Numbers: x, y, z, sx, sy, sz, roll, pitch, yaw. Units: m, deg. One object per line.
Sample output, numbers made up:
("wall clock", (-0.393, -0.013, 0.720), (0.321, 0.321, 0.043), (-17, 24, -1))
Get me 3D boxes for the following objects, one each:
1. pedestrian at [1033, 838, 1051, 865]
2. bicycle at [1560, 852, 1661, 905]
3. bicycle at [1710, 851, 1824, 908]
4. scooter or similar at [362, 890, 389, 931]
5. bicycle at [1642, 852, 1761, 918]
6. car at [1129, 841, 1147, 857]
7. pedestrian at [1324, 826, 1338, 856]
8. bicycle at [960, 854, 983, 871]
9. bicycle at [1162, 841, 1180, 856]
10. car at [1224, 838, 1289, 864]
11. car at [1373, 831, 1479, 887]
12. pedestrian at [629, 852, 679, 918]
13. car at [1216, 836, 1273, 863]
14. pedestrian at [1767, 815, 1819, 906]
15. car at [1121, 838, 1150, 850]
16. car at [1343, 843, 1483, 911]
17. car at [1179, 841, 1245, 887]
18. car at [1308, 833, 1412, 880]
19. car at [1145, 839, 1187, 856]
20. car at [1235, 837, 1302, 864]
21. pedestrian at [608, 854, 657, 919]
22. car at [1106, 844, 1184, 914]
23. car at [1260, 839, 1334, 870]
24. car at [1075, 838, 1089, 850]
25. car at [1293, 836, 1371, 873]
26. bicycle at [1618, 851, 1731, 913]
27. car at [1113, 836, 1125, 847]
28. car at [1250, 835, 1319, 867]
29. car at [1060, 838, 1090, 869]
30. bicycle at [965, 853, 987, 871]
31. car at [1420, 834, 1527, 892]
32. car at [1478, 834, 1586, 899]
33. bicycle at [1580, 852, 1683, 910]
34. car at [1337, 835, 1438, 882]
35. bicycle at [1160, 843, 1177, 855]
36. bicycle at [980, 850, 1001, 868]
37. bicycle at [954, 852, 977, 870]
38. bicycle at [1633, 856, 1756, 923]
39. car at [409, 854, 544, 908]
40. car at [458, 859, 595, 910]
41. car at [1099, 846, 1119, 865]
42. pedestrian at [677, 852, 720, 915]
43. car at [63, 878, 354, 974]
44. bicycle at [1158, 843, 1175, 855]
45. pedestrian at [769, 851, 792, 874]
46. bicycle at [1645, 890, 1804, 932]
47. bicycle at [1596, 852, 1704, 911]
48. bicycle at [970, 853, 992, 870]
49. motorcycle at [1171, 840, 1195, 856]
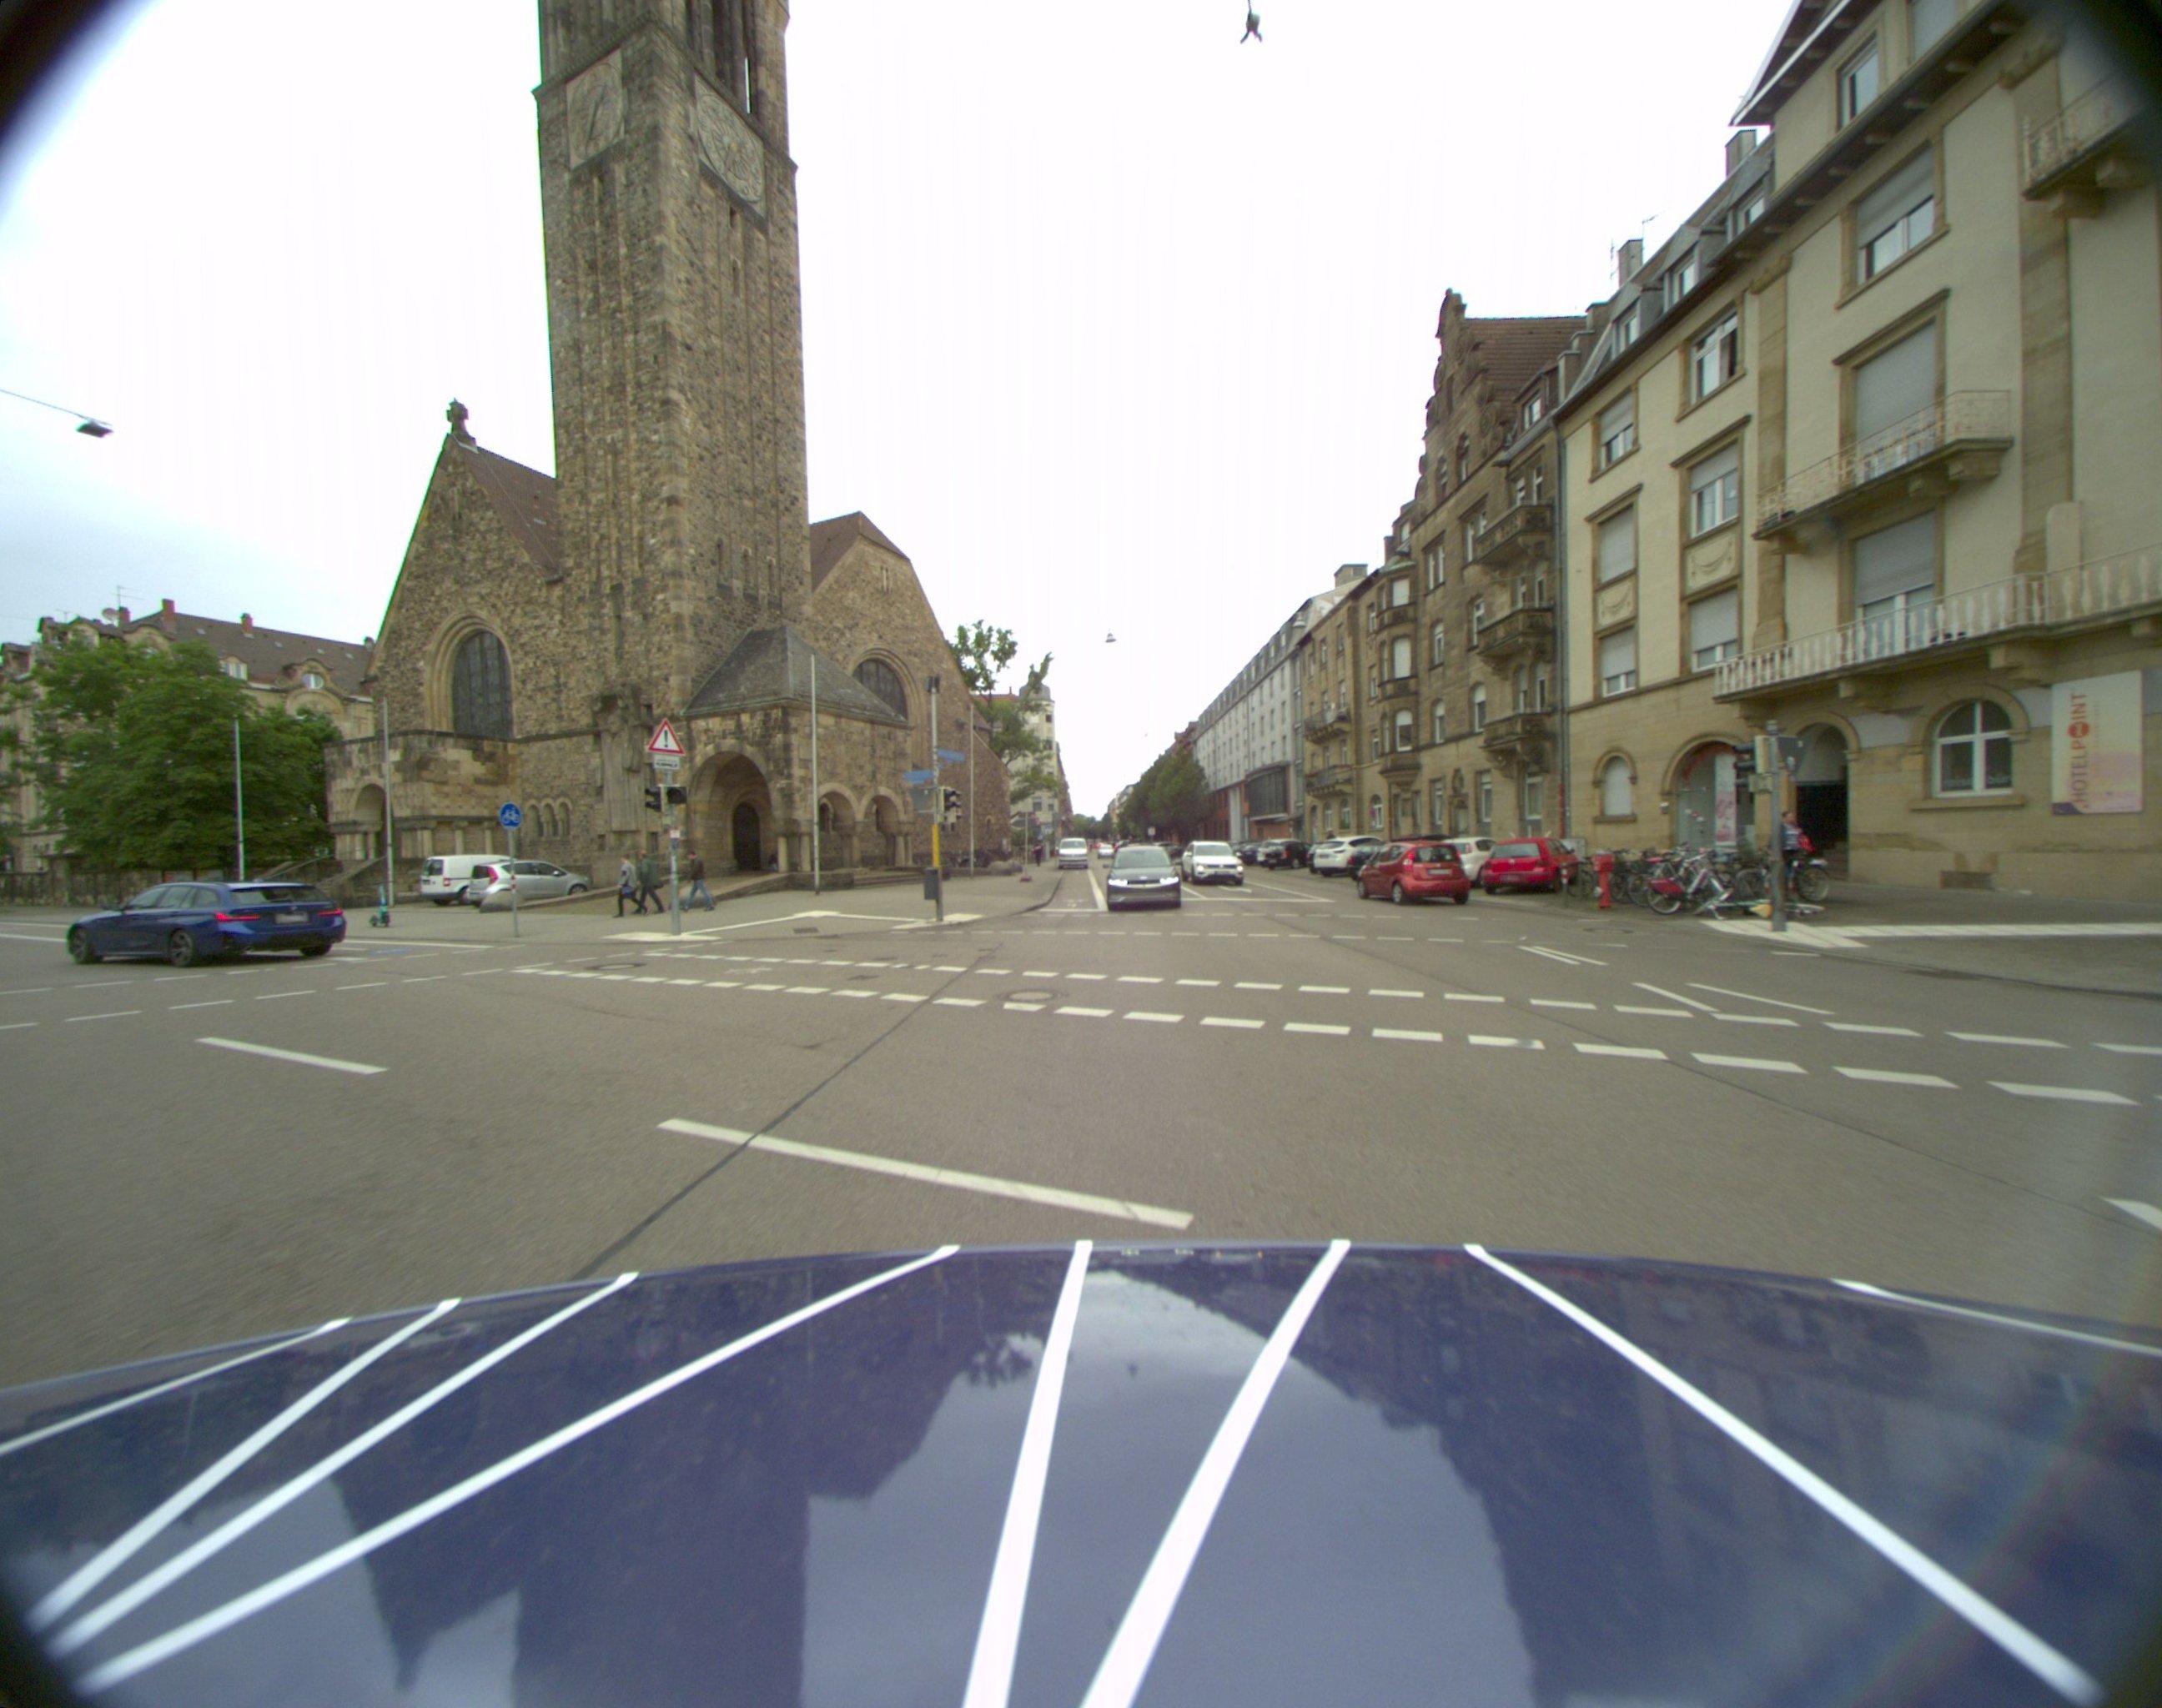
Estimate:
("pedestrian", (-2.747, -0.172, 53.245), (0.814, 1.799, 1.021), (-1, 4, 22))
("bicycle", (12.227, 0.562, 17.564), (1.890, 1.030, 0.442), (-6, 1, 4))
("bicycle", (13.605, 0.473, 15.142), (0.503, 1.022, 1.996), (-2, 1, 1))
("scooter or similar", (-18.854, 1.500, 20.300), (0.771, 1.047, 0.240), (-1, 2, 26))
("bicycle", (12.166, 0.599, 14.916), (1.891, 1.030, 0.442), (-7, 1, -1))
("car", (5.709, -0.515, 76.218), (1.653, 1.439, 3.511), (-1, 1, 2))
("pedestrian", (15.357, -0.816, 46.704), (0.621, 1.813, 0.642), (-1, 2, 1))
("bicycle", (-6.799, 0.545, 47.176), (1.380, 1.054, 0.311), (-1, 2, 23))
("bicycle", (8.573, -0.508, 72.327), (1.630, 1.282, 0.416), (-3, 2, -1))
("car", (11.601, -0.201, 50.223), (4.005, 1.430, 1.729), (-5, 2, -31))
("car", (11.952, 0.129, 26.220), (4.233, 1.642, 1.727), (-4, 2, -41))
("pedestrian", (-11.734, 0.840, 20.925), (0.806, 1.749, 0.969), (1, 2, 1))
("car", (11.489, -0.320, 53.269), (4.006, 1.545, 1.729), (-5, 2, -38))
("pedestrian", (15.616, 0.140, 16.673), (0.620, 1.947, 0.550), (-1, 2, 2))
("car", (8.665, -1.616, 121.158), (4.004, 1.898, 1.996), (-2, 1, -22))
("car", (8.423, 0.503, 19.678), (1.737, 1.516, 3.998), (-2, 1, -3))
("car", (4.978, 0.321, 29.361), (1.910, 1.597, 4.250), (-2, 1, 2))
("car", (12.000, 0.074, 32.684), (4.004, 1.714, 1.837), (-3, 2, -24))
("car", (9.007, -0.688, 80.282), (4.004, 1.620, 1.769), (-2, 1, -22))
("car", (11.734, -0.225, 47.486), (3.753, 1.437, 1.820), (-5, 2, -29))
("pedestrian", (-11.858, 0.837, 20.125), (0.634, 1.663, 0.969), (1, 2, 7))
("car", (1.650, 0.590, 20.749), (1.820, 1.675, 3.999), (-1, 1, 1))
("car", (11.761, 0.005, 41.215), (4.006, 1.410, 1.657), (-5, 3, -35))
("car", (0.140, -1.409, 102.979), (1.820, 1.556, 3.999), (-1, 1, 1))
("car", (11.863, -0.004, 35.798), (3.818, 1.489, 1.565), (-5, 3, -38))
("bicycle", (12.138, 0.570, 15.551), (1.891, 1.030, 0.442), (-7, 1, -1))
("car", (6.186, -2.023, 124.760), (1.698, 1.793, 4.128), (-1, 1, -1))
("car", (12.014, -0.200, 44.758), (4.006, 1.545, 1.699), (-5, 2, -37))
("car", (-0.385, -0.087, 50.017), (1.810, 1.909, 5.162), (-1, 1, 0))
("bicycle", (-6.600, 0.500, 47.783), (1.380, 1.054, 0.311), (-1, 2, 23))
("car", (12.243, 0.240, 23.586), (4.006, 1.464, 1.560), (-5, 2, -41))
("car", (12.331, 0.309, 20.668), (1.679, 1.464, 4.007), (-3, 1, 43))
("bicycle", (12.124, 0.583, 16.750), (1.891, 1.030, 0.442), (-7, 1, -1))
("car", (11.967, 0.164, 29.553), (4.006, 1.486, 1.727), (-5, 2, -36))
("bicycle", (8.776, -0.472, 75.978), (1.630, 1.067, 0.416), (-3, 2, -1))
("bicycle", (-5.872, 0.353, 49.047), (1.340, 1.140, 0.311), (-1, 2, 23))
("bicycle", (-7.053, 0.446, 46.504), (1.380, 1.054, 0.311), (-1, 2, 23))
("bicycle", (11.594, 0.664, 14.381), (1.891, 1.030, 0.442), (-7, 1, -1))
("car", (-22.395, 0.948, 28.286), (1.683, 1.783, 3.472), (-1, 2, 27))
("car", (-19.344, 1.014, 26.655), (1.614, 1.521, 3.473), (-1, 2, 27))
("car", (2.835, 0.149, 78.017), (1.832, 1.762, 3.998), (-2, 2, 0))
("pedestrian", (-10.510, 0.800, 20.895), (0.676, 1.676, 0.969), (1, 2, 1))
("car", (-15.404, 1.199, 13.448), (4.310, 1.397, 1.823), (-1, 1, 19))
("bicycle", (8.629, -0.480, 76.459), (1.630, 1.067, 0.416), (-3, 2, -1))
("pedestrian", (-12.907, 0.376, 32.643), (0.672, 0.946, 0.616), (-1, 2, 23))
("bicycle", (11.258, 0.990, 13.357), (1.891, 0.442, 1.029), (-7, 0, -1))
("bicycle", (12.130, 0.577, 16.213), (1.891, 1.030, 0.442), (-7, 1, -1))
("bicycle", (-6.382, 0.455, 48.417), (1.340, 1.054, 0.311), (-1, 2, 23))
("motorcycle", (9.429, -0.532, 70.331), (2.124, 1.346, 0.599), (-3, 2, 1))
